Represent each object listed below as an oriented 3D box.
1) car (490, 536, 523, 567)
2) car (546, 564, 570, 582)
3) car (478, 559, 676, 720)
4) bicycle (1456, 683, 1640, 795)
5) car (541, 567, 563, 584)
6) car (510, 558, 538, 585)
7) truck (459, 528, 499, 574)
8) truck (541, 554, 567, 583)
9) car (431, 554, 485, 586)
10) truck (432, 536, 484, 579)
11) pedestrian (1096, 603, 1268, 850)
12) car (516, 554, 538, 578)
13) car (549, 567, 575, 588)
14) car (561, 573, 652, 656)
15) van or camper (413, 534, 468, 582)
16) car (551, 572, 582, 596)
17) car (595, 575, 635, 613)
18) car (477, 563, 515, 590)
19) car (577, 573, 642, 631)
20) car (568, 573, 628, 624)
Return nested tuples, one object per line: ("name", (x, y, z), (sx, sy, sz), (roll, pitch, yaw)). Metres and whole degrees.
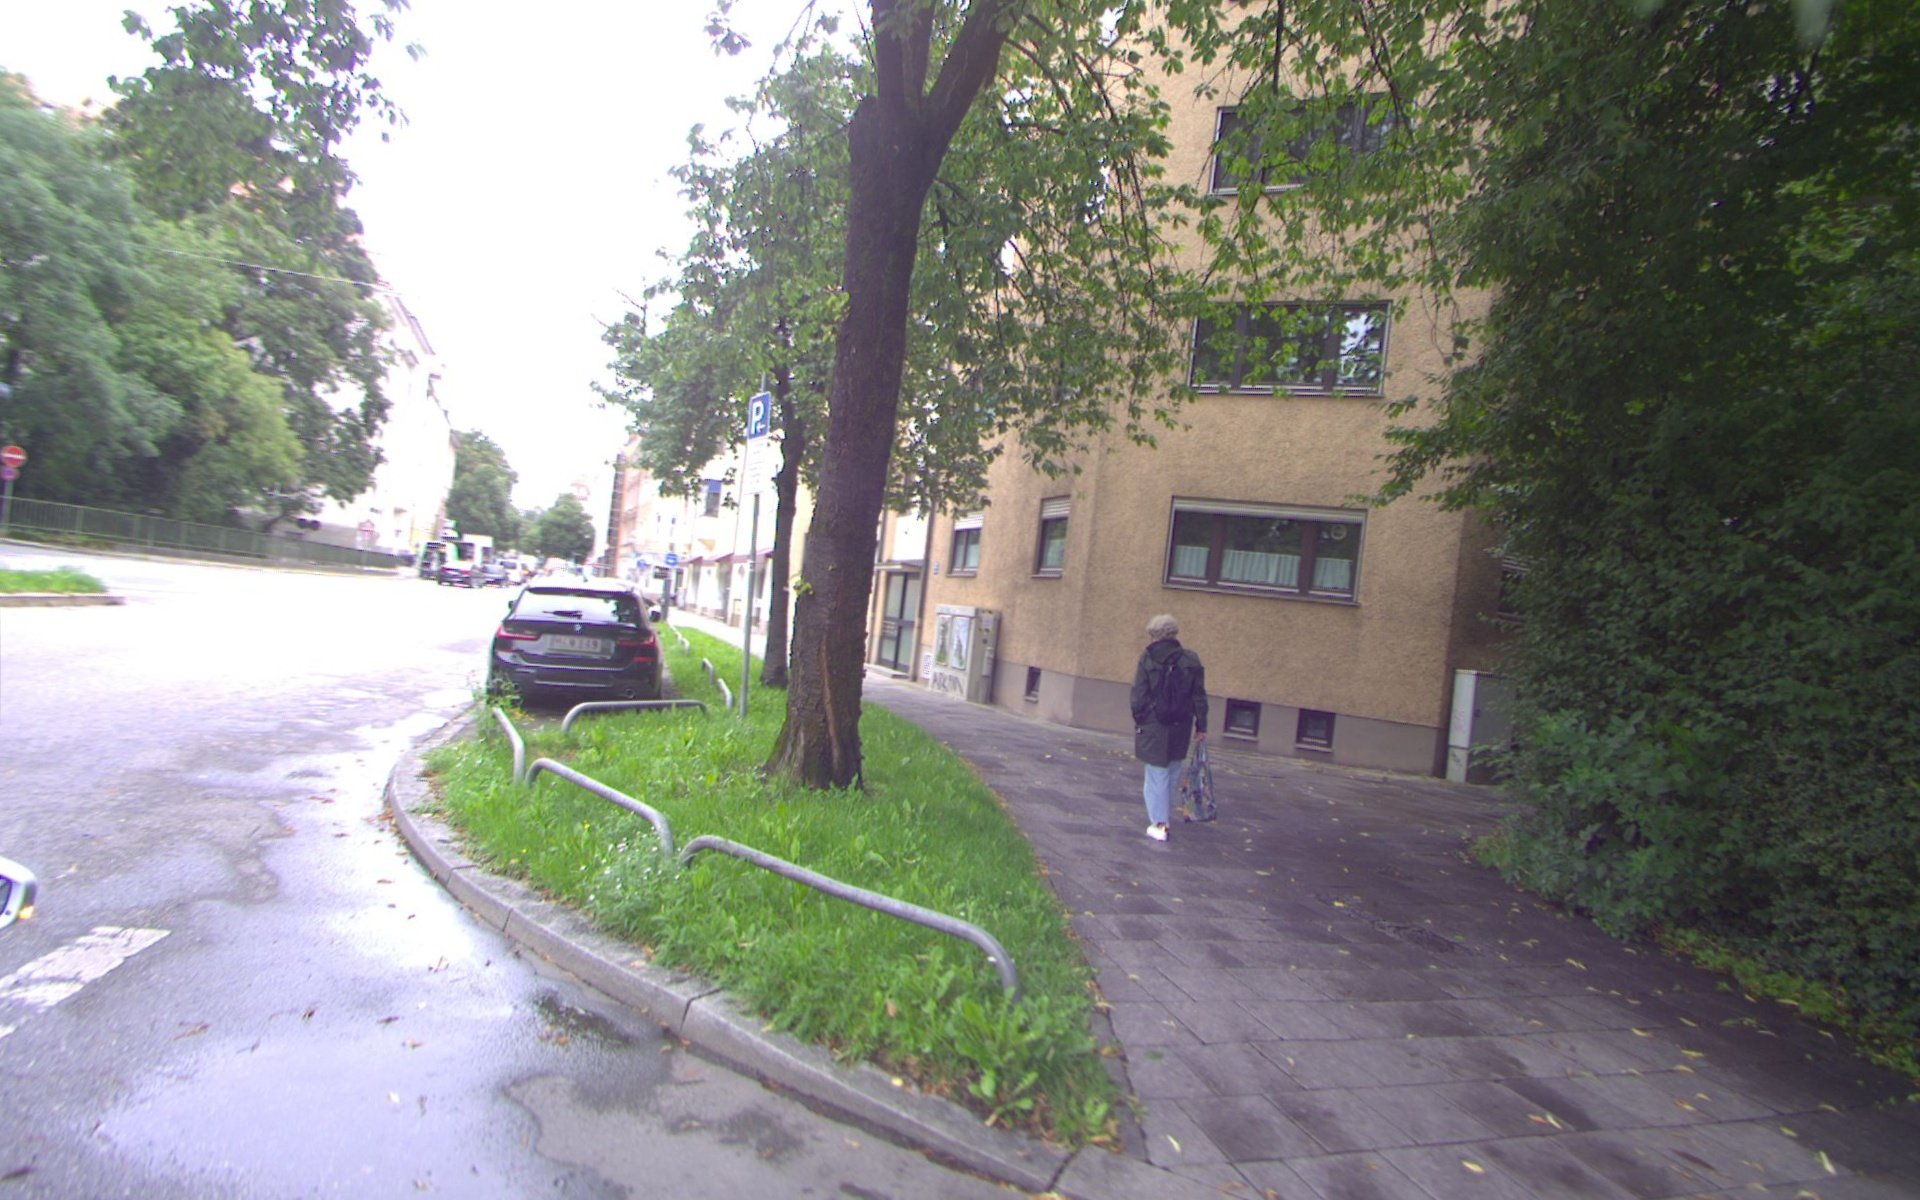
("car", (-35.231, -3.741, 78.280), (1.970, 2.101, 4.118), (7, 0, -22))
("car", (-39.397, -2.693, 98.548), (1.970, 1.447, 4.118), (7, 0, -22))
("car", (-4.528, 0.378, 12.140), (1.771, 1.516, 4.358), (4, 0, -19))
("bicycle", (7.712, 1.828, 13.169), (2.399, 1.232, 0.700), (7, 0, -23))
("car", (-43.200, -2.623, 106.596), (1.970, 1.447, 4.118), (7, 0, -22))
("car", (-37.936, -2.504, 87.654), (1.974, 2.038, 3.978), (7, 0, -23))
("truck", (-48.133, -4.839, 100.879), (2.984, 3.999, 6.955), (7, -1, -24))
("truck", (-49.074, -3.813, 121.502), (2.468, 3.009, 5.299), (8, -1, -23))
("car", (-28.438, -1.725, 57.151), (1.968, 1.447, 4.884), (7, 0, -19))
("truck", (-39.547, -3.331, 79.431), (2.745, 2.908, 7.164), (7, 0, -22))
("pedestrian", (1.599, 0.884, 7.377), (0.663, 1.643, 0.977), (7, -1, -18))
("car", (-51.731, -4.078, 120.188), (1.919, 2.510, 4.760), (7, -1, -21))
("car", (-35.915, -2.026, 90.799), (1.828, 1.445, 4.281), (10, -1, -24))
("car", (-7.645, 0.270, 21.880), (1.609, 1.515, 3.805), (6, 0, -19))
("van or camper", (-36.247, -2.945, 70.317), (2.574, 2.875, 6.152), (7, 0, -22))
("car", (-30.354, -1.258, 77.515), (1.828, 1.445, 4.158), (10, -1, -24))
("car", (-17.855, -0.330, 52.156), (1.736, 1.700, 4.687), (6, 0, -19))
("car", (-31.085, -1.604, 67.471), (1.970, 1.447, 4.118), (7, 0, -22))
("car", (-10.855, 0.014, 31.273), (1.671, 1.515, 4.416), (6, 0, -19))
("car", (-12.730, -0.094, 35.549), (1.736, 1.514, 4.469), (6, 0, -19))
